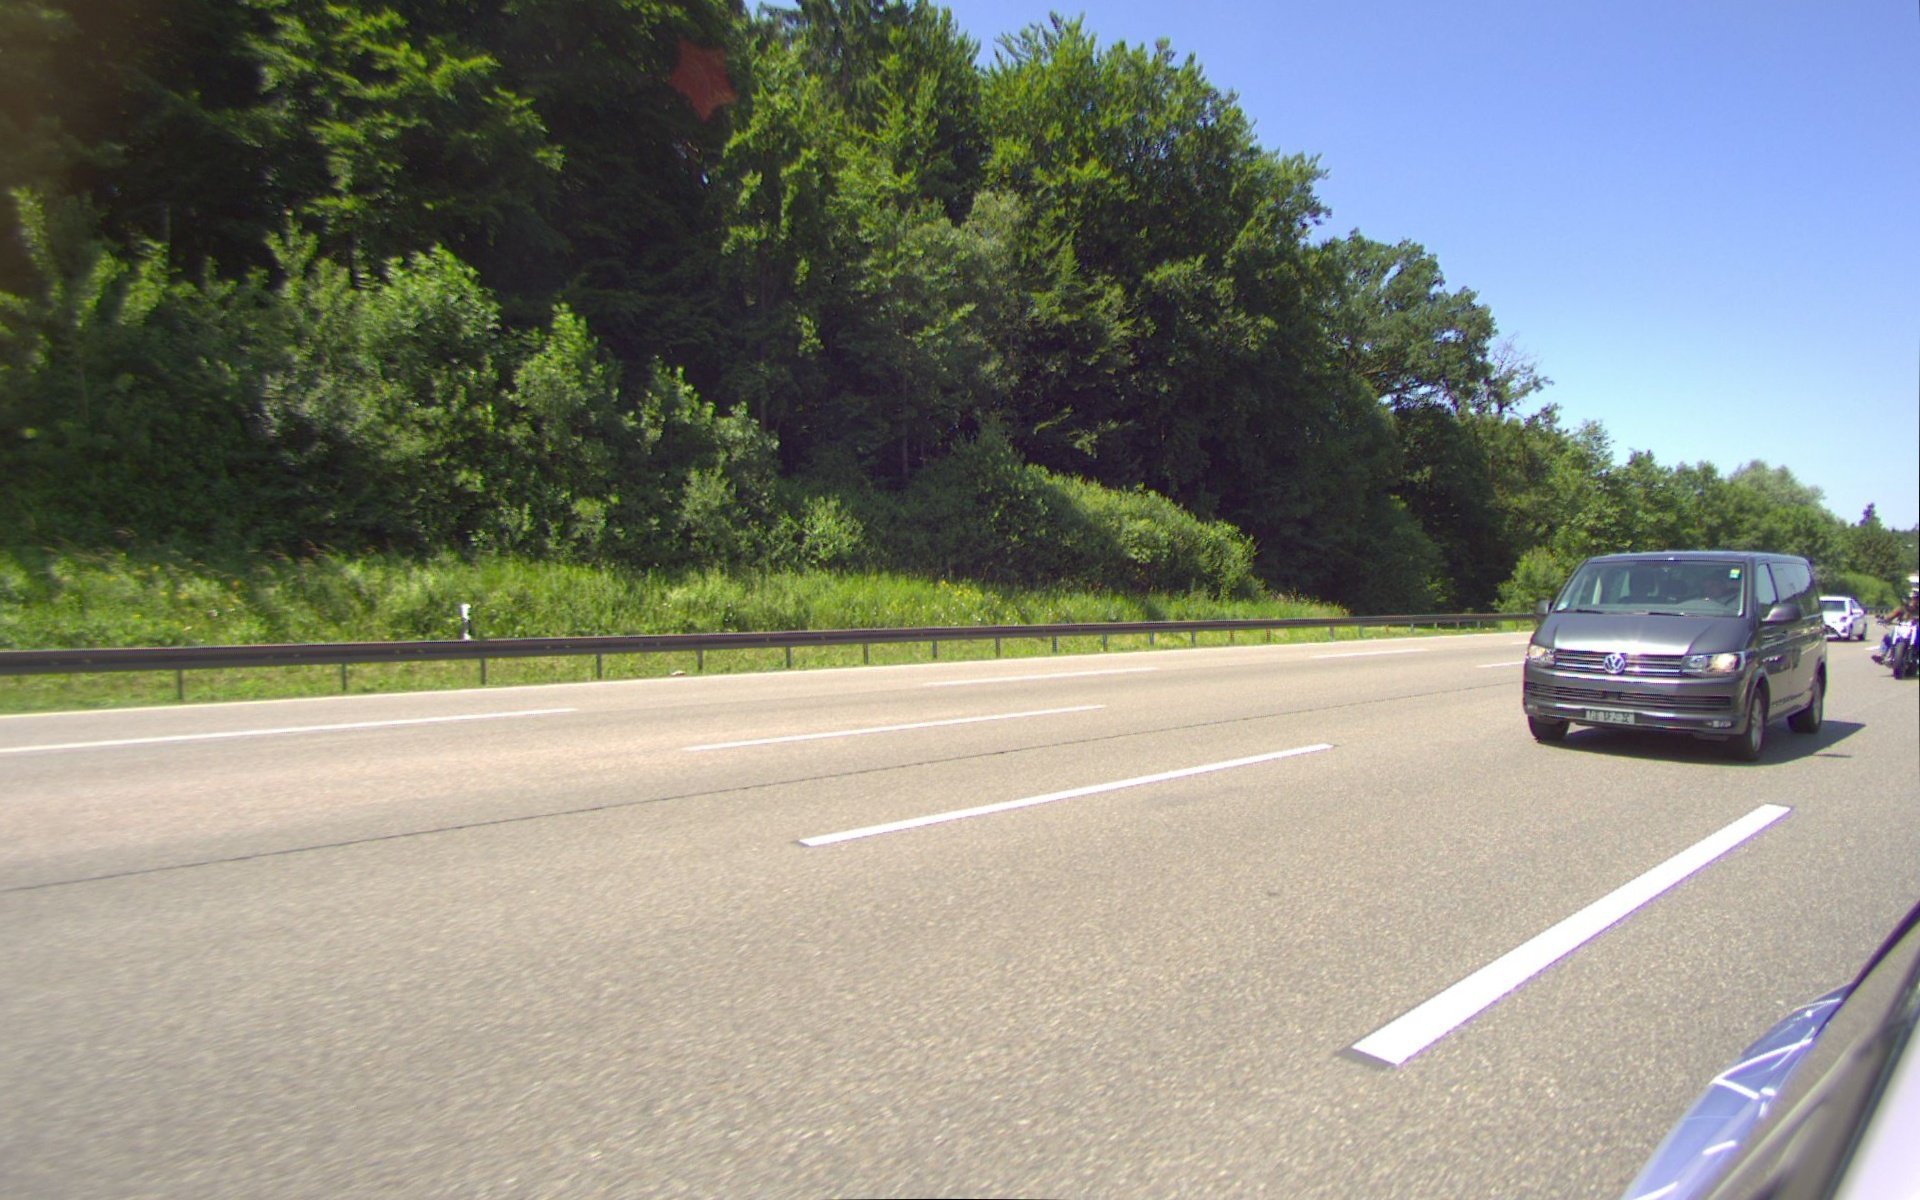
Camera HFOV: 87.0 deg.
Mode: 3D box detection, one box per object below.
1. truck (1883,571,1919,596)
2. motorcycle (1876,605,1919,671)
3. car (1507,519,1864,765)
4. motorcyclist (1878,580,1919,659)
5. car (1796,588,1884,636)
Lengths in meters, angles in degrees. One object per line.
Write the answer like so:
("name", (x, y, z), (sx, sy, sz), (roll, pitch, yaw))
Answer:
("truck", (177.166, -3.109, 187.504), (2.786, 4.515, 12.030), (-2, 1, 10))
("motorcycle", (18.261, 0.691, 19.097), (2.386, 1.150, 0.538), (-1, 1, -25))
("car", (7.925, 0.333, 10.849), (4.993, 2.059, 1.967), (0, 1, -40))
("motorcyclist", (18.089, 0.359, 19.057), (1.002, 1.445, 0.857), (-1, 1, -25))
("car", (30.189, 0.379, 34.681), (4.407, 1.538, 1.752), (0, 1, -42))
